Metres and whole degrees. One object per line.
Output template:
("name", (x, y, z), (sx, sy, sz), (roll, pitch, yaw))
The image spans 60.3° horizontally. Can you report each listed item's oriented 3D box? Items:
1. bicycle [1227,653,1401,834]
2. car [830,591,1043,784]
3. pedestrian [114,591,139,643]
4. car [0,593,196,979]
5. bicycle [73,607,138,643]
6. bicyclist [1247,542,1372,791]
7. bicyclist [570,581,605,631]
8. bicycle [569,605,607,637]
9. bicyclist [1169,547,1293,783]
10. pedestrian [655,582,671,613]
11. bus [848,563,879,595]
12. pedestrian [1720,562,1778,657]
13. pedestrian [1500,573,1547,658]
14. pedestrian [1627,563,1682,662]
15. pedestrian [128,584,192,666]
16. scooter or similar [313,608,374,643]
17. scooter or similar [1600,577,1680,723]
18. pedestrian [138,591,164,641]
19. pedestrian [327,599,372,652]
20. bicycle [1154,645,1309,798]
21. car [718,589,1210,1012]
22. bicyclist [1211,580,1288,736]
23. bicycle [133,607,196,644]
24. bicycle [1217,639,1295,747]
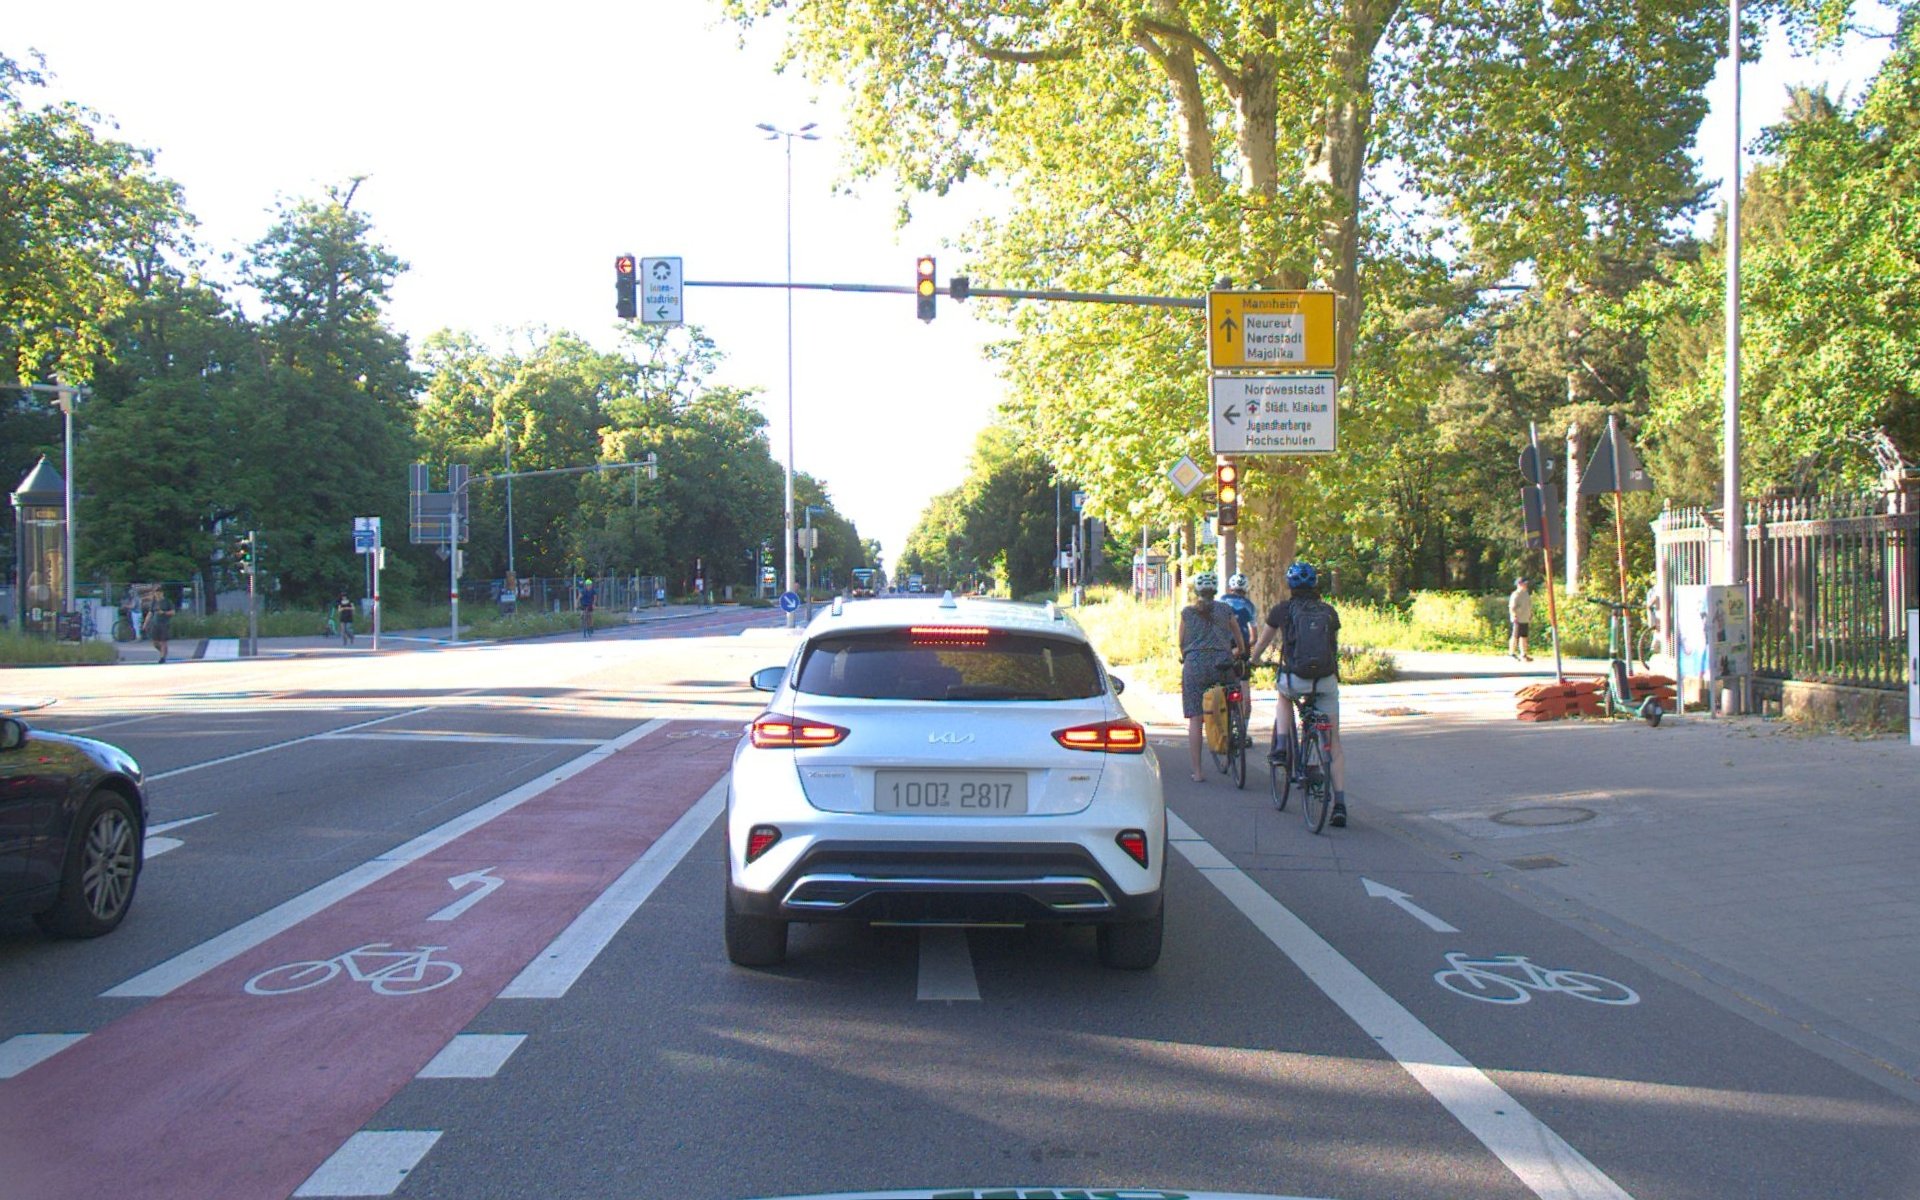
("bicycle", (2.355, 0.921, 11.259), (0.655, 1.027, 2.080), (1, 1, -2))
("car", (-0.261, 0.693, 15.126), (1.694, 1.509, 3.515), (-1, 1, -3))
("pedestrian", (-27.002, 0.555, 53.571), (0.617, 1.671, 0.444), (0, 0, -11))
("car", (-4.407, 0.704, 5.642), (1.670, 1.429, 4.264), (0, 1, -1))
("bicycle", (-27.823, 0.819, 53.887), (1.826, 1.168, 0.442), (0, 0, -8))
("bicyclist", (2.363, 0.437, 11.239), (0.652, 1.630, 0.720), (1, 0, -2))
("bicyclist", (-12.527, 0.183, 55.662), (0.857, 1.636, 1.188), (-1, 0, 1))
("bicycle", (-12.511, 0.695, 55.658), (0.650, 1.006, 2.504), (-1, 1, 1))
("bicyclist", (2.188, 0.505, 13.491), (0.738, 1.827, 1.164), (1, 0, -2))
("pedestrian", (-17.368, -0.157, 96.757), (0.769, 1.817, 0.751), (0, 0, 0))
("bus", (-11.899, -2.537, 202.987), (3.668, 3.737, 13.230), (-1, 1, -4))
("pedestrian", (14.357, 0.170, 30.098), (0.808, 1.711, 0.694), (0, 0, 13))
("pedestrian", (10.361, 0.279, 30.428), (0.801, 1.544, 0.917), (0, 0, 18))
("pedestrian", (12.208, 0.219, 29.087), (0.675, 1.729, 0.644), (0, 0, -1))
("pedestrian", (-20.326, 0.628, 42.034), (0.974, 2.049, 1.191), (0, 0, 4))
("scooter or similar", (-20.851, 0.860, 55.961), (0.697, 1.144, 1.916), (0, 0, 32))
("scooter or similar", (6.528, 0.458, 15.911), (0.223, 1.350, 1.171), (-1, 0, -2))
("pedestrian", (-26.115, 0.523, 53.387), (0.617, 1.608, 0.444), (0, 0, -11))
("pedestrian", (-19.163, 0.792, 51.947), (1.067, 1.631, 0.999), (-1, 0, -7))
("bicycle", (2.172, 0.940, 13.620), (0.742, 1.031, 2.568), (1, 1, -2))
("car", (-0.053, 0.707, 7.951), (1.785, 1.506, 3.934), (0, 1, -2))
("bicyclist", (2.899, 0.570, 16.629), (0.543, 1.504, 0.716), (-3, 0, -2))
("bicycle", (-25.721, 0.822, 53.466), (1.826, 1.168, 0.290), (0, 0, -8))
("bicycle", (2.957, 0.912, 16.622), (0.393, 0.973, 1.550), (-3, 0, -2))
